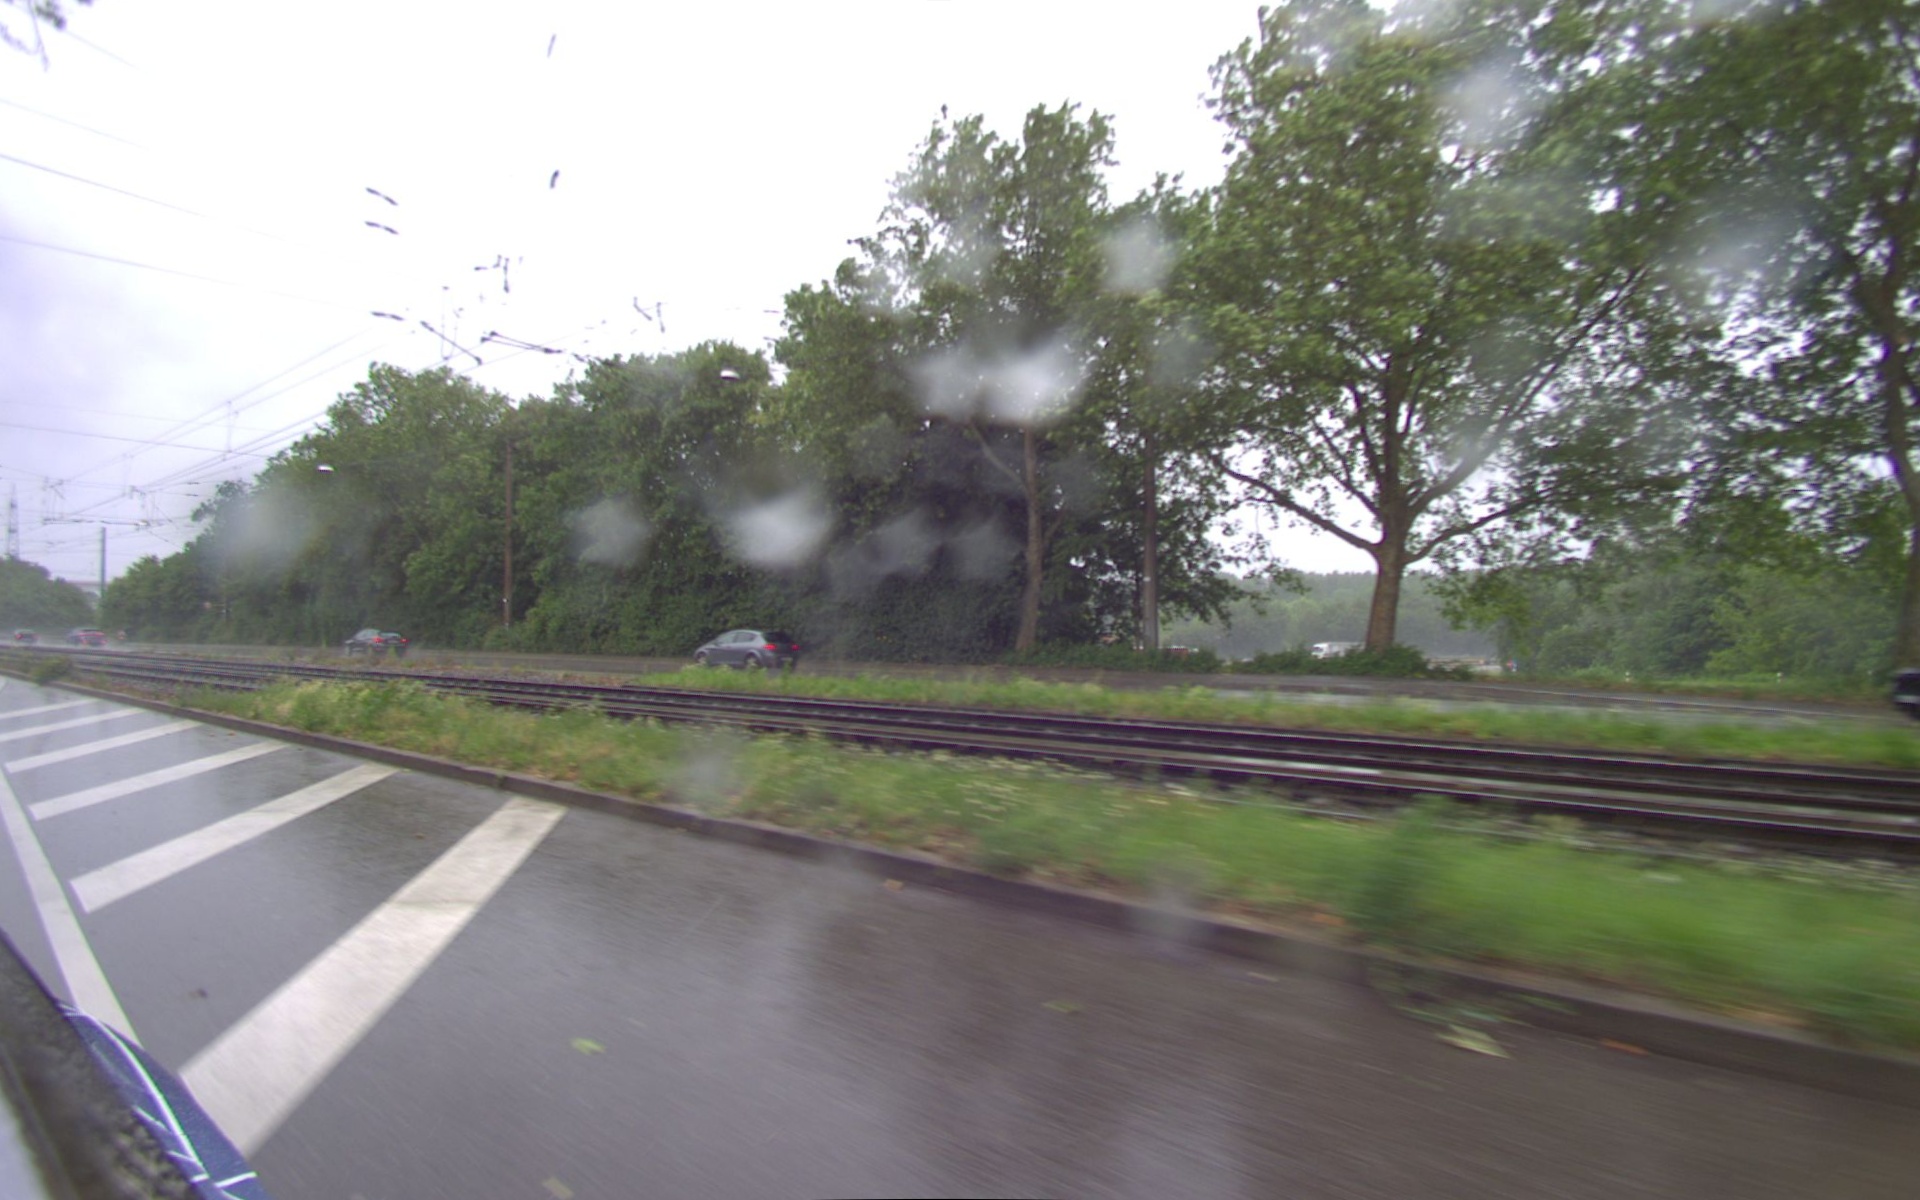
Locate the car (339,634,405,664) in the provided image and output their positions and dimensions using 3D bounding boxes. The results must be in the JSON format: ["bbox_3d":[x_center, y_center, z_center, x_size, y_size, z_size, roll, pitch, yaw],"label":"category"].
[{"bbox_3d":[-30.087,2.481,51.747,3.935,1.417,1.666,-1,-1,39],"label":"car"}]

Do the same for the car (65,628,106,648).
[{"bbox_3d":[-71.333,3.065,82.515,4.949,1.535,1.674,-2,-2,39],"label":"car"}]

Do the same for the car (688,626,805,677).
[{"bbox_3d":[-7.187,1.675,33.878,4.043,1.580,1.635,-1,-1,39],"label":"car"}]

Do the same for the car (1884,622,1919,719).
[{"bbox_3d":[17.525,1.107,15.684,4.221,1.540,2.217,-1,-1,3],"label":"car"}]

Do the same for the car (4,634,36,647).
[{"bbox_3d":[-94.757,4.066,101.985,4.375,1.340,1.754,-2,-2,39],"label":"car"}]
